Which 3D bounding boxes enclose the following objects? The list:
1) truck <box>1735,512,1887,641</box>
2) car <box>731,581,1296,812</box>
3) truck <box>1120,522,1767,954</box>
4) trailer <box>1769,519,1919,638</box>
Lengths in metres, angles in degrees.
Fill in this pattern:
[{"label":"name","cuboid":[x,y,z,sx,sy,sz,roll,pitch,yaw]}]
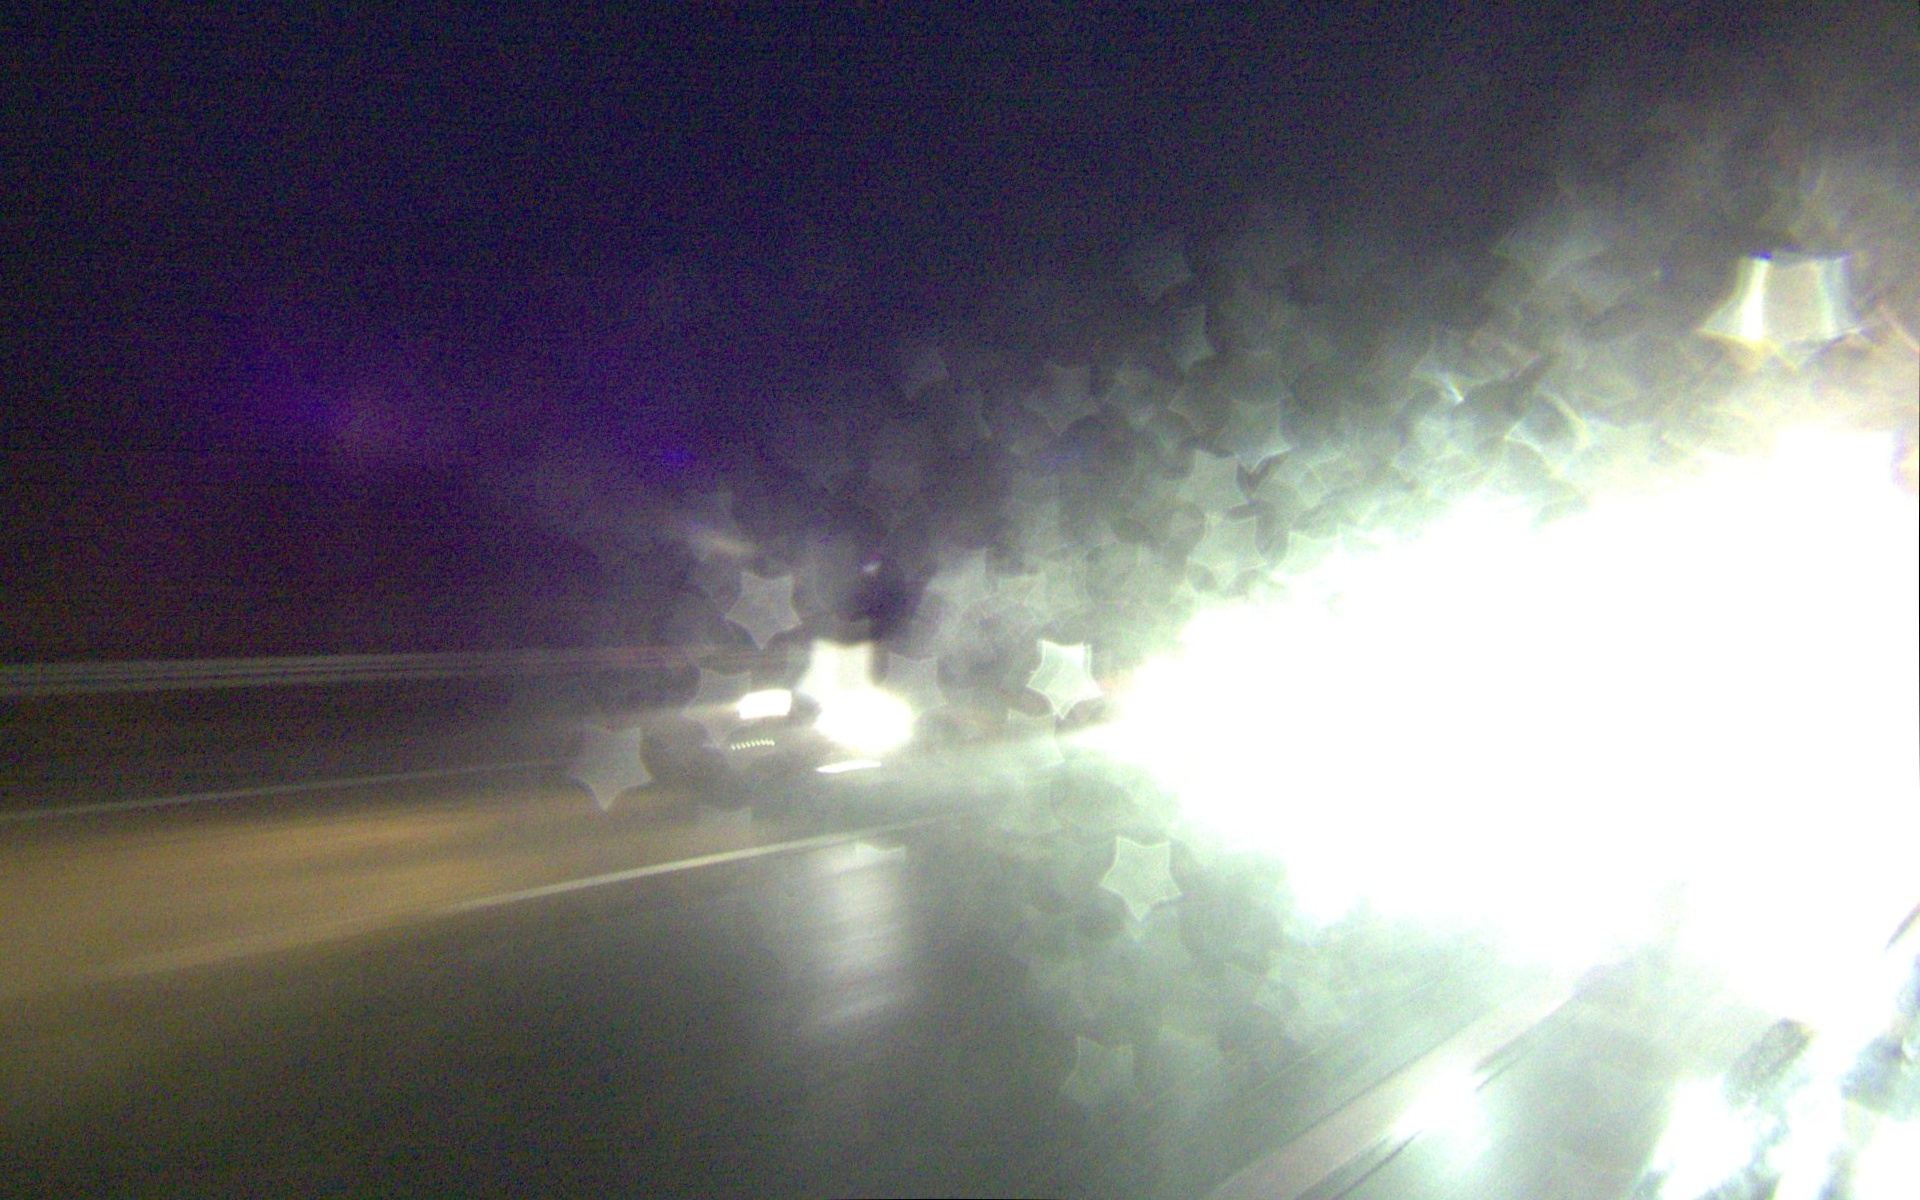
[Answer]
[{"label":"truck","cuboid":[30.256,-0.765,35.882,6.888,4.155,2.865,0,0,-39]},{"label":"car","cuboid":[0.767,0.635,8.957,5.271,1.498,1.746,0,0,-41]},{"label":"truck","cuboid":[3.271,0.528,6.288,4.769,1.717,1.847,-1,0,-40]},{"label":"trailer","cuboid":[36.081,-0.829,40.622,13.396,4.149,2.871,-1,0,-39]}]
